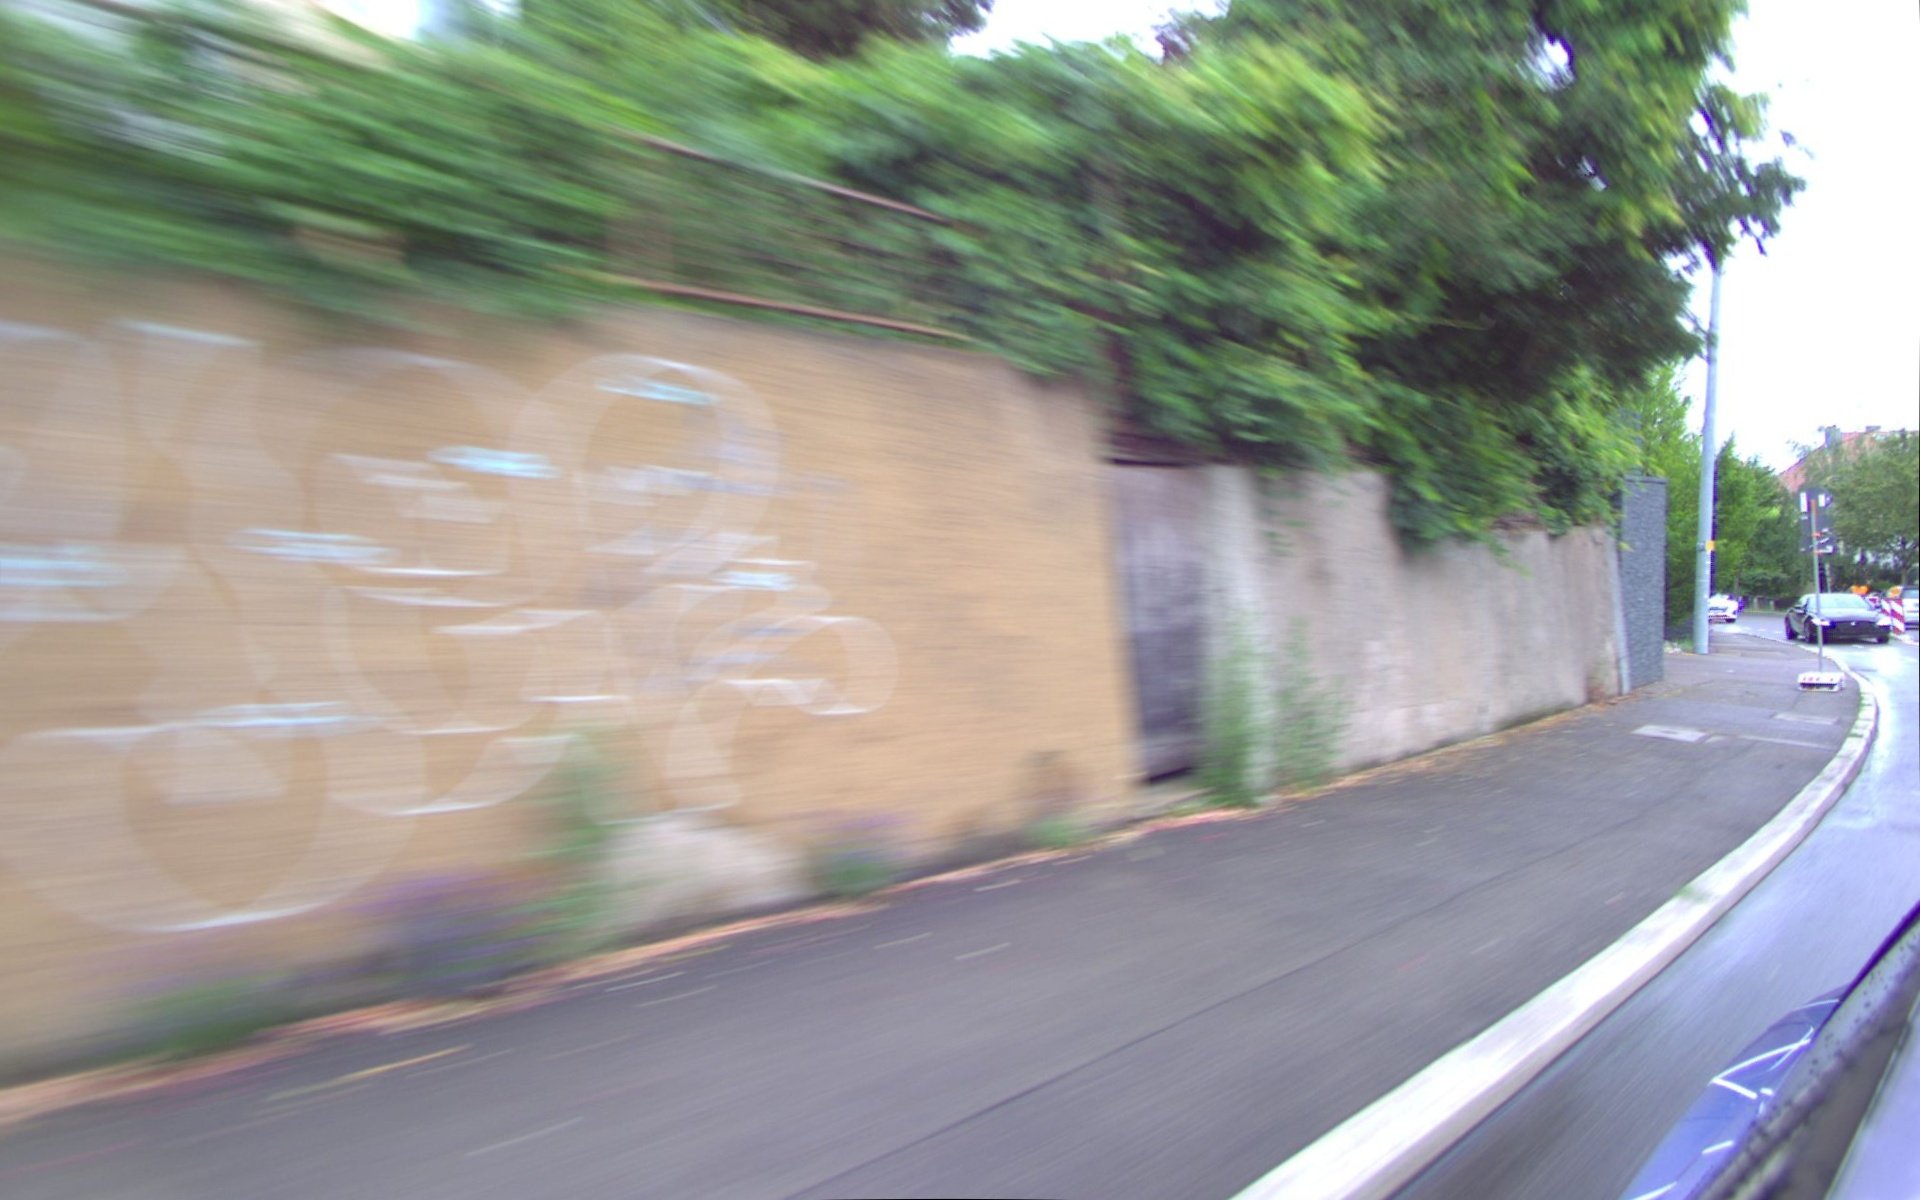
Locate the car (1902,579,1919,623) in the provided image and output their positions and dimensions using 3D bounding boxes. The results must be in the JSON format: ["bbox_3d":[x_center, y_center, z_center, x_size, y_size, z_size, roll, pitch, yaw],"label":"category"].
[{"bbox_3d":[34.665,0.006,36.021,1.453,1.545,2.881,-2,0,40],"label":"car"}]

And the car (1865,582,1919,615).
[{"bbox_3d":[51.291,0.024,53.793,4.208,1.522,1.899,7,4,24],"label":"car"}]

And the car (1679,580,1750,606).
[{"bbox_3d":[45.168,-0.458,60.700,1.686,1.400,4.513,-3,0,13],"label":"car"}]

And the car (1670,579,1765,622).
[{"bbox_3d":[35.149,-0.020,47.124,1.992,1.760,4.574,-4,0,17],"label":"car"}]
